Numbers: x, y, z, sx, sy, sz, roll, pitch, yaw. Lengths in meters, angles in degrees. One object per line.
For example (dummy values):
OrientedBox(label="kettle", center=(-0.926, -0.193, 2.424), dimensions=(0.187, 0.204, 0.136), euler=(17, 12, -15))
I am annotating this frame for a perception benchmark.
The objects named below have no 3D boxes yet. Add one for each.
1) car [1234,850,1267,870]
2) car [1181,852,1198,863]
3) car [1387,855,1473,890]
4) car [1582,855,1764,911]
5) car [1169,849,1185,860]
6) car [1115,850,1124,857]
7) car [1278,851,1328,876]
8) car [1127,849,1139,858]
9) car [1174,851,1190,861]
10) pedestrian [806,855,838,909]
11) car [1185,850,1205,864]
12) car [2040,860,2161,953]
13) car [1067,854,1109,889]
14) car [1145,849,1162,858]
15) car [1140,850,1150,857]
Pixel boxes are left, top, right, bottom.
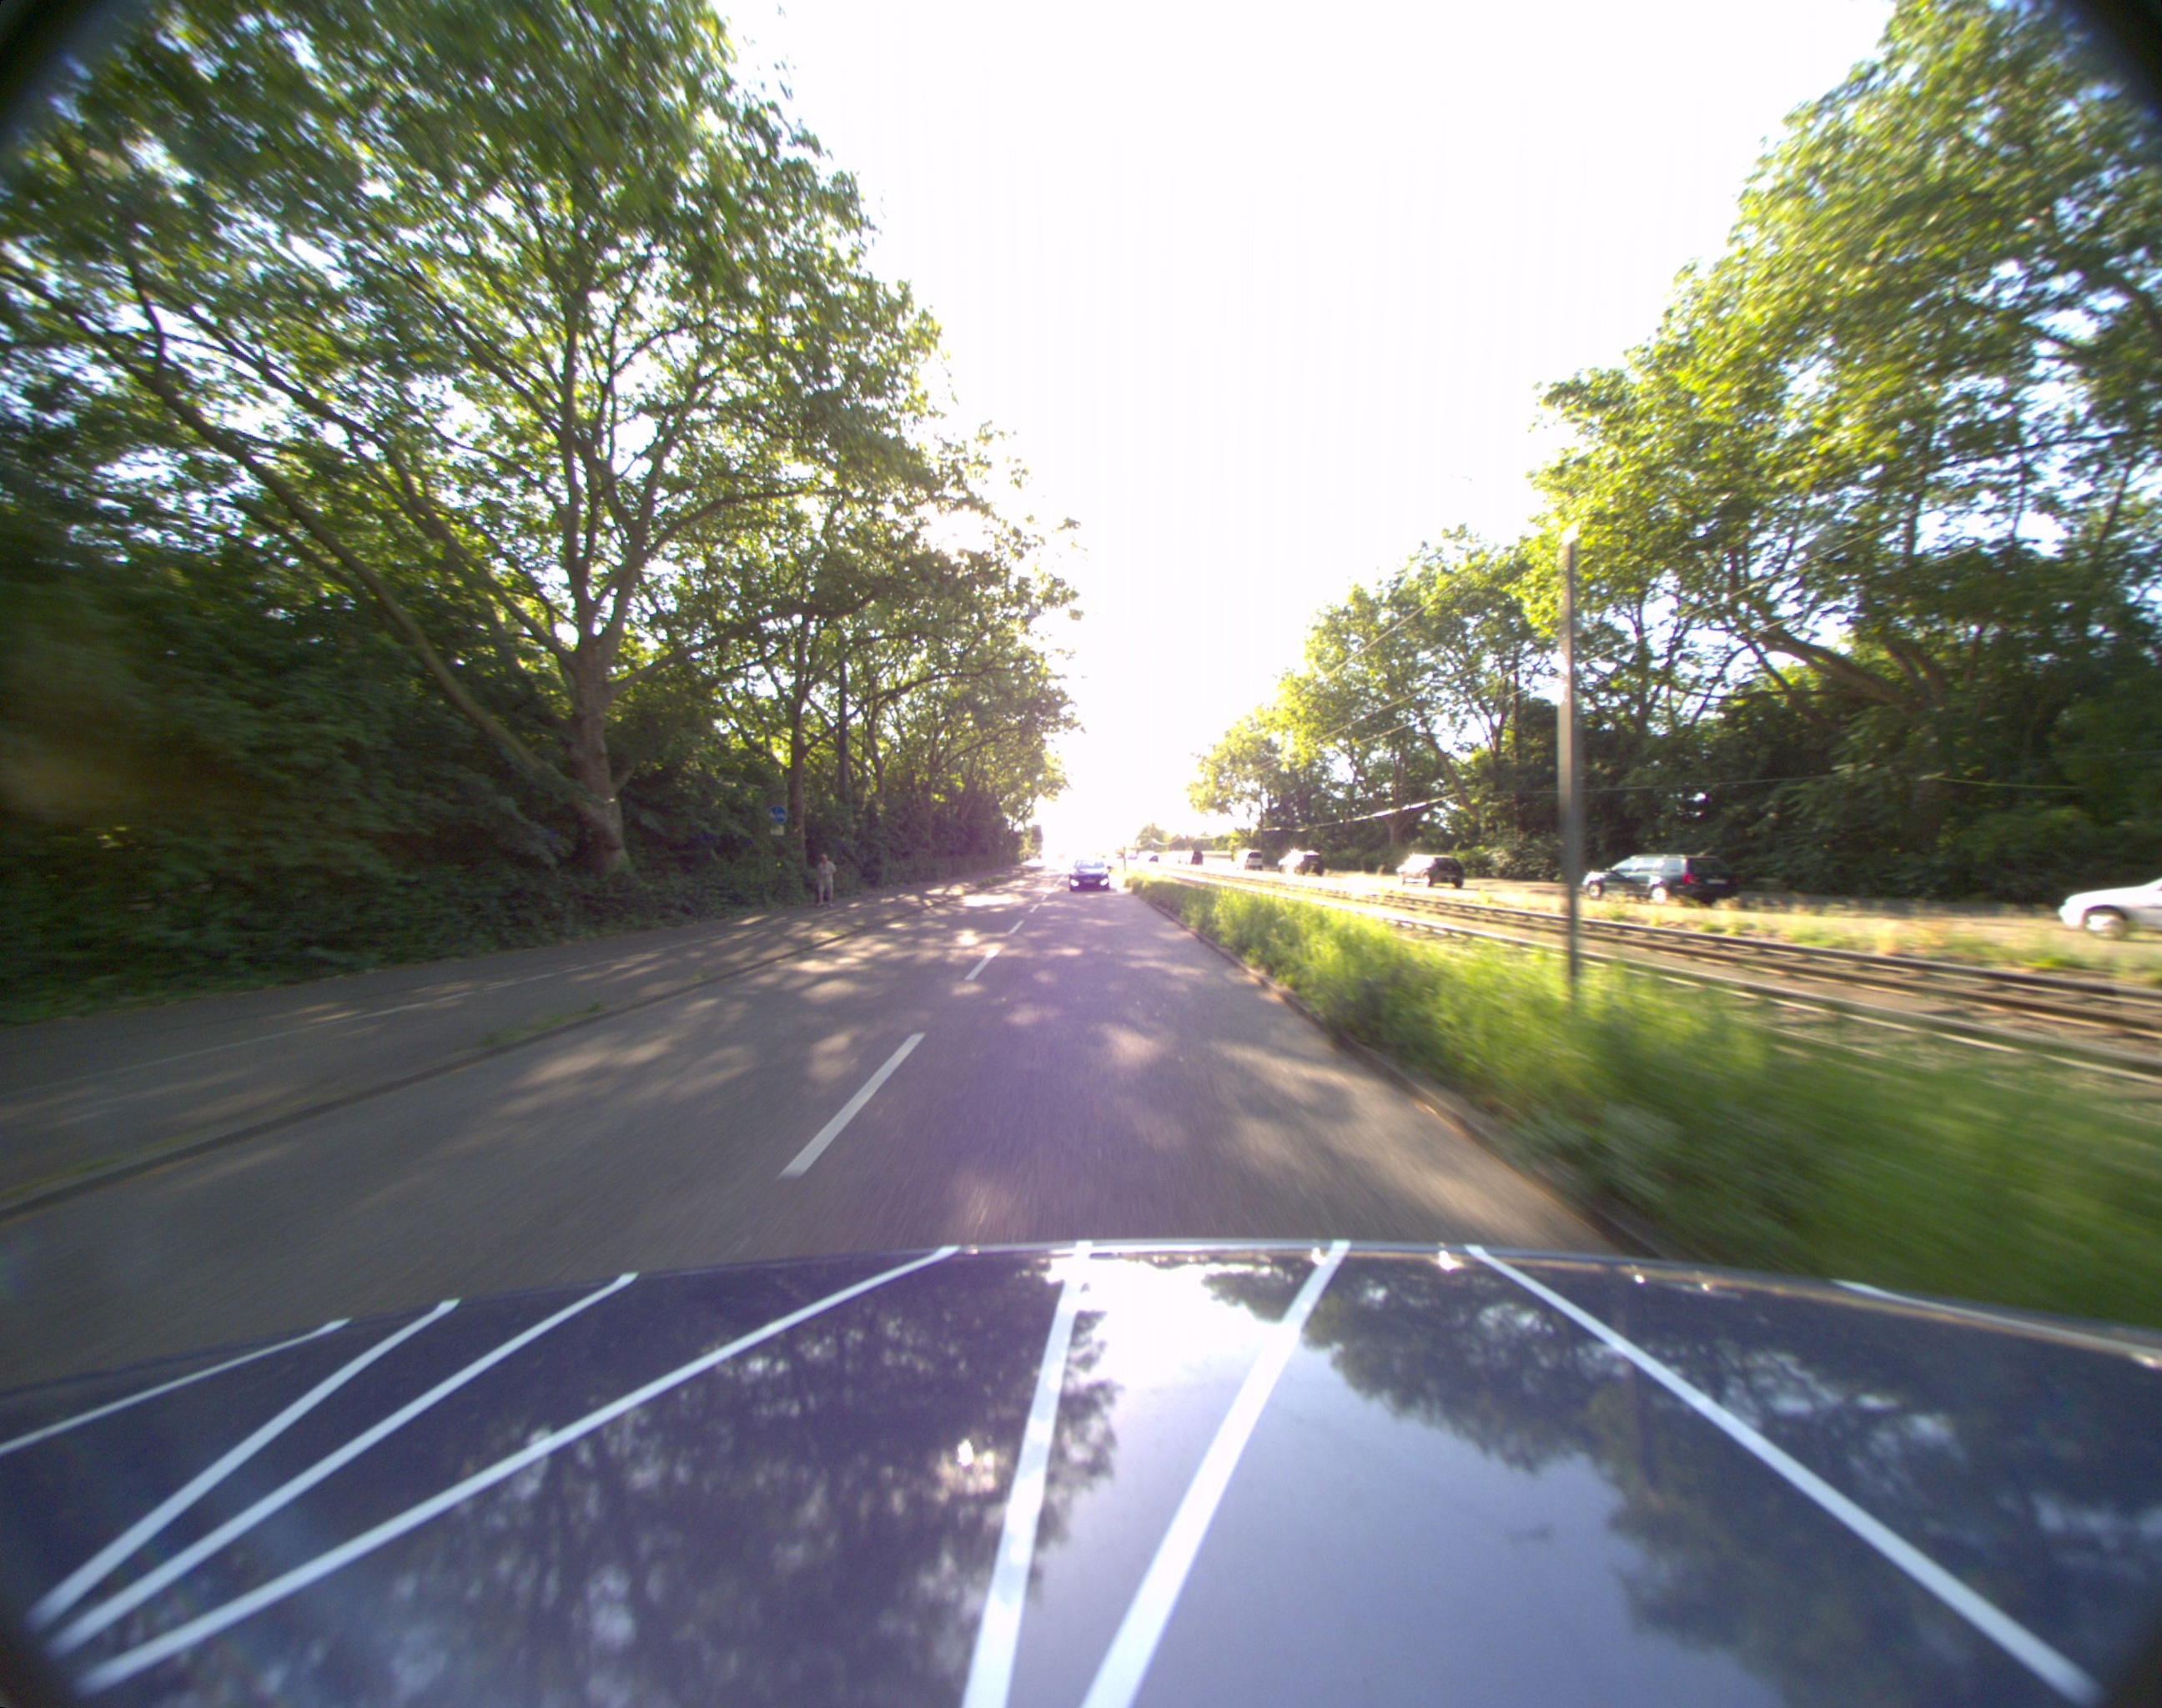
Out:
OrientedBox(label="car", center=(15.709, 0.538, 70.586), dimensions=(1.832, 1.830, 4.393), euler=(0, 1, -3))
OrientedBox(label="car", center=(14.836, 0.453, 104.235), dimensions=(1.659, 1.434, 3.784), euler=(0, 1, -3))
OrientedBox(label="car", center=(16.366, 0.819, 35.917), dimensions=(1.832, 1.496, 4.393), euler=(0, 1, -3))
OrientedBox(label="car", center=(17.234, 0.785, 22.443), dimensions=(1.832, 1.428, 4.322), euler=(0, 1, -3))
OrientedBox(label="car", center=(14.494, 0.055, 115.111), dimensions=(1.659, 1.491, 3.923), euler=(0, 1, -3))
OrientedBox(label="car", center=(9.962, -0.101, 198.346), dimensions=(1.988, 1.841, 4.961), euler=(0, 1, -1))
OrientedBox(label="car", center=(15.889, 0.677, 54.594), dimensions=(1.833, 1.709, 4.391), euler=(0, 1, -7))
OrientedBox(label="car", center=(10.523, -0.065, 154.359), dimensions=(1.832, 1.841, 5.035), euler=(0, 1, -1))
OrientedBox(label="car", center=(14.571, 0.322, 109.715), dimensions=(1.658, 1.434, 3.784), euler=(0, 1, -2))
OrientedBox(label="pedestrian", center=(-8.074, 0.865, 23.696), dimensions=(0.649, 1.626, 0.927), euler=(1, 1, 0))
OrientedBox(label="car", center=(14.808, 0.378, 98.726), dimensions=(1.735, 1.730, 3.898), euler=(0, 1, -3))
OrientedBox(label="car", center=(17.912, 0.849, 11.534), dimensions=(1.744, 1.428, 3.850), euler=(0, 1, -3))
OrientedBox(label="car", center=(0.286, 0.807, 36.181), dimensions=(1.799, 1.501, 3.999), euler=(-2, 0, -1))
OrientedBox(label="car", center=(11.241, -0.081, 118.068), dimensions=(1.925, 1.407, 4.748), euler=(1, 1, -2))
OrientedBox(label="car", center=(13.684, -0.107, 162.849), dimensions=(1.658, 1.491, 3.924), euler=(0, 1, -1))
